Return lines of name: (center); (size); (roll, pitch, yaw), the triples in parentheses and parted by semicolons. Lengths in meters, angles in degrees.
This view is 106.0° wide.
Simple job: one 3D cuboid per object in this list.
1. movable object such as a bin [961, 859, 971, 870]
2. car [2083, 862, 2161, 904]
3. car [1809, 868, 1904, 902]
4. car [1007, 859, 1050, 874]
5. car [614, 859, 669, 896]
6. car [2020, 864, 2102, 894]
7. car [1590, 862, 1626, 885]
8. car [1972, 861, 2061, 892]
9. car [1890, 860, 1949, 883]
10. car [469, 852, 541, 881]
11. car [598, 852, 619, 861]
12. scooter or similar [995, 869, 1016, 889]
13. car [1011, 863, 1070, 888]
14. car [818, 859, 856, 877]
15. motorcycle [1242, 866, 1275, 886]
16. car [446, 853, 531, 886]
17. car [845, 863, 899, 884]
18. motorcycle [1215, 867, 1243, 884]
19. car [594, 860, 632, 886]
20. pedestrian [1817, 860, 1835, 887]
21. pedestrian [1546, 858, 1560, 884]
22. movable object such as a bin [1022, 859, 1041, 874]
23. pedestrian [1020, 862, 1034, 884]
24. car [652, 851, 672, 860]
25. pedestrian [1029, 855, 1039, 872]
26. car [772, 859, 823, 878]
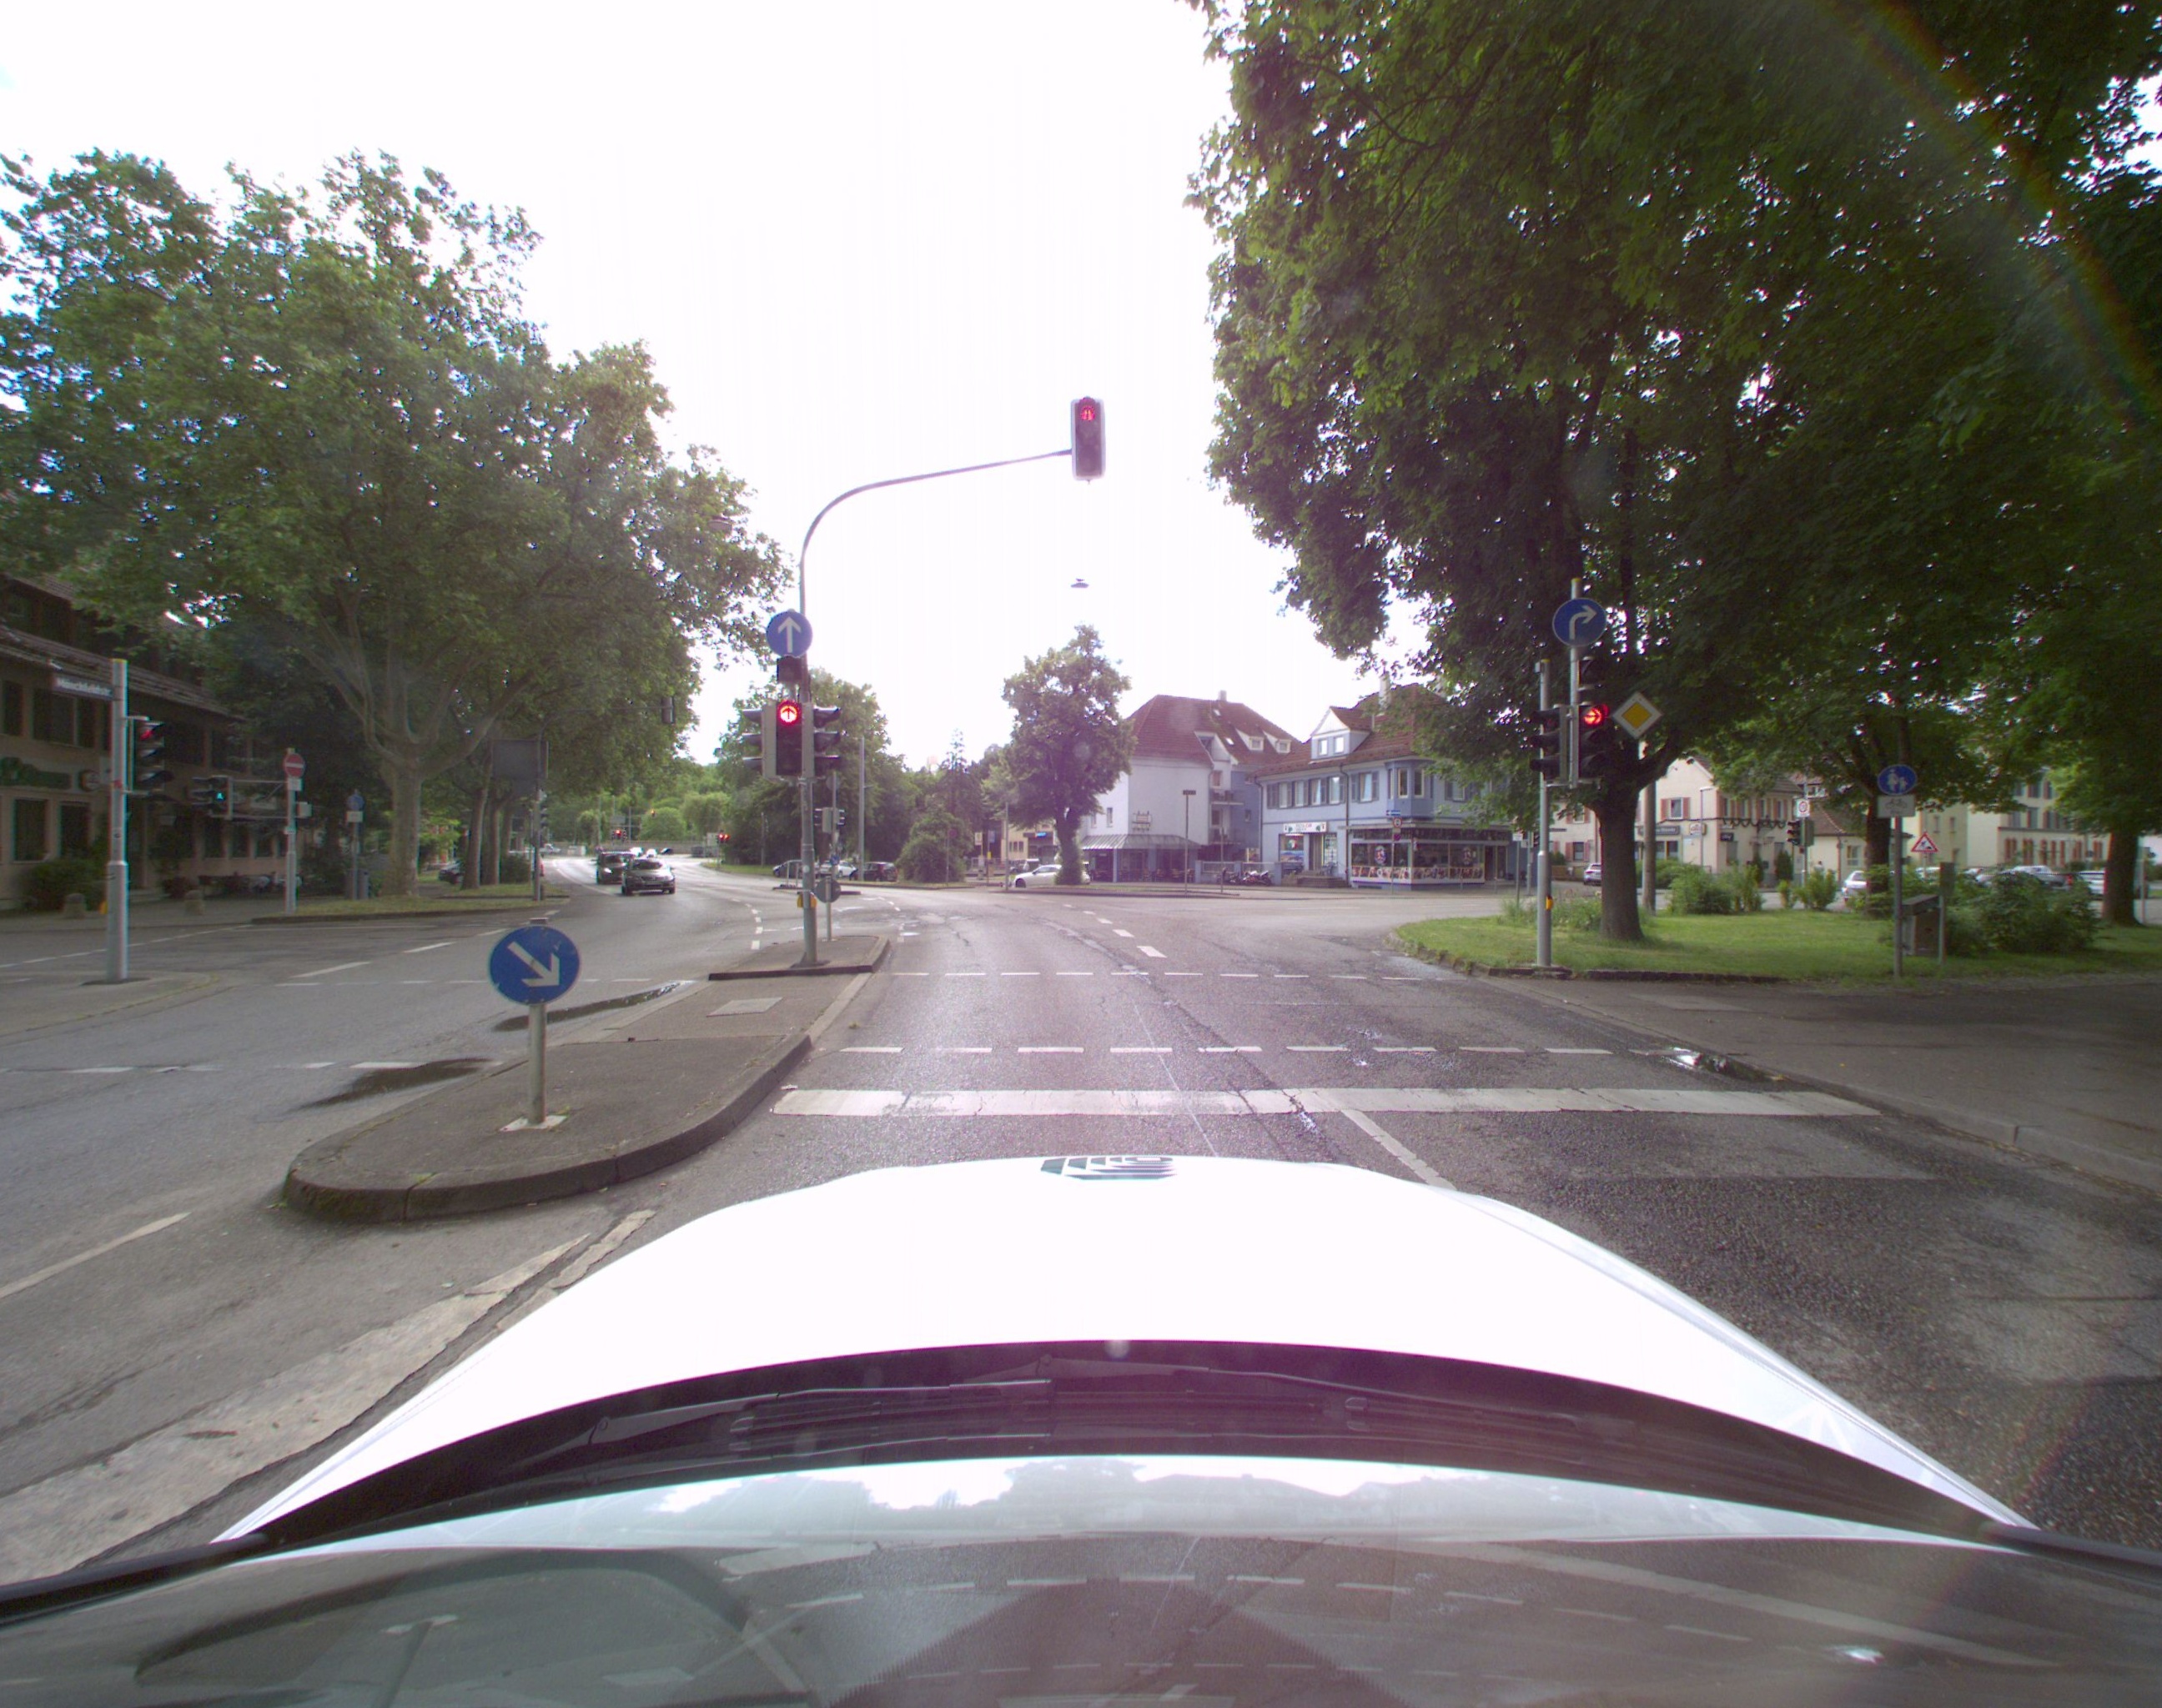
movable object such as a bin: (-12.221, 1.123, 86.639); (0.953, 1.115, 0.381); (0, -1, -19)
car: (52.830, 1.441, 41.125); (4.004, 2.014, 1.770); (0, -1, -23)
car: (31.962, 1.256, 33.568); (3.511, 1.321, 1.549); (0, 0, -22)
car: (-4.881, 1.139, 76.156); (3.752, 1.345, 1.422); (0, 0, -25)
car: (-17.942, 0.951, 33.209); (1.440, 1.416, 2.838); (0, -1, -39)
car: (47.003, 1.172, 39.058); (3.511, 1.321, 1.549); (0, 0, -22)
car: (32.602, 1.189, 50.340); (1.481, 1.369, 3.198); (-1, -1, 40)
car: (42.215, 0.981, 36.751); (3.510, 1.321, 1.549); (0, 0, -21)
car: (55.115, 1.133, 53.529); (4.007, 1.420, 1.544); (0, 0, -26)
car: (-35.485, 0.759, 50.284); (3.461, 1.742, 1.557); (0, -1, -31)
car: (-106.176, 0.494, 183.029); (4.011, 2.014, 1.981); (0, -1, -29)
scooter or similar: (-3.978, 1.293, 42.882); (0.413, 1.011, 1.575); (-1, -1, 22)
car: (-2.309, 1.205, 46.239); (3.134, 1.354, 1.448); (0, -1, 36)
car: (-20.080, 1.134, 67.187); (1.534, 1.464, 3.407); (0, 0, 13)
motorcycle: (10.534, 1.291, 48.263); (1.777, 1.121, 0.699); (0, -1, 40)
car: (-31.002, 0.786, 42.718); (3.461, 1.641, 1.557); (0, -1, -31)
car: (-13.907, 1.269, 54.206); (3.549, 1.394, 1.481); (0, -1, 34)
motorcycle: (9.113, 1.318, 50.078); (0.699, 1.064, 1.617); (0, -1, -44)
car: (-26.943, 1.061, 46.832); (1.440, 1.416, 2.838); (0, -1, -39)
pedestrian: (45.717, 1.174, 49.977); (0.611, 1.649, 0.606); (0, -1, -27)
pedestrian: (28.361, 1.017, 48.929); (0.586, 1.517, 0.457); (0, -1, -13)
movable object such as a bin: (-4.524, 1.137, 74.249); (1.447, 1.409, 0.959); (0, -1, -25)
pedestrian: (-3.892, 1.363, 58.520); (0.759, 1.545, 0.682); (-1, -1, 41)
car: (-95.497, 0.436, 185.604); (4.011, 2.014, 1.981); (0, -1, -29)
pedestrian: (-4.355, 0.895, 75.218); (0.708, 1.545, 0.674); (0, -1, -20)
car: (-22.439, 1.117, 64.485); (3.520, 1.464, 1.591); (0, 0, 14)
